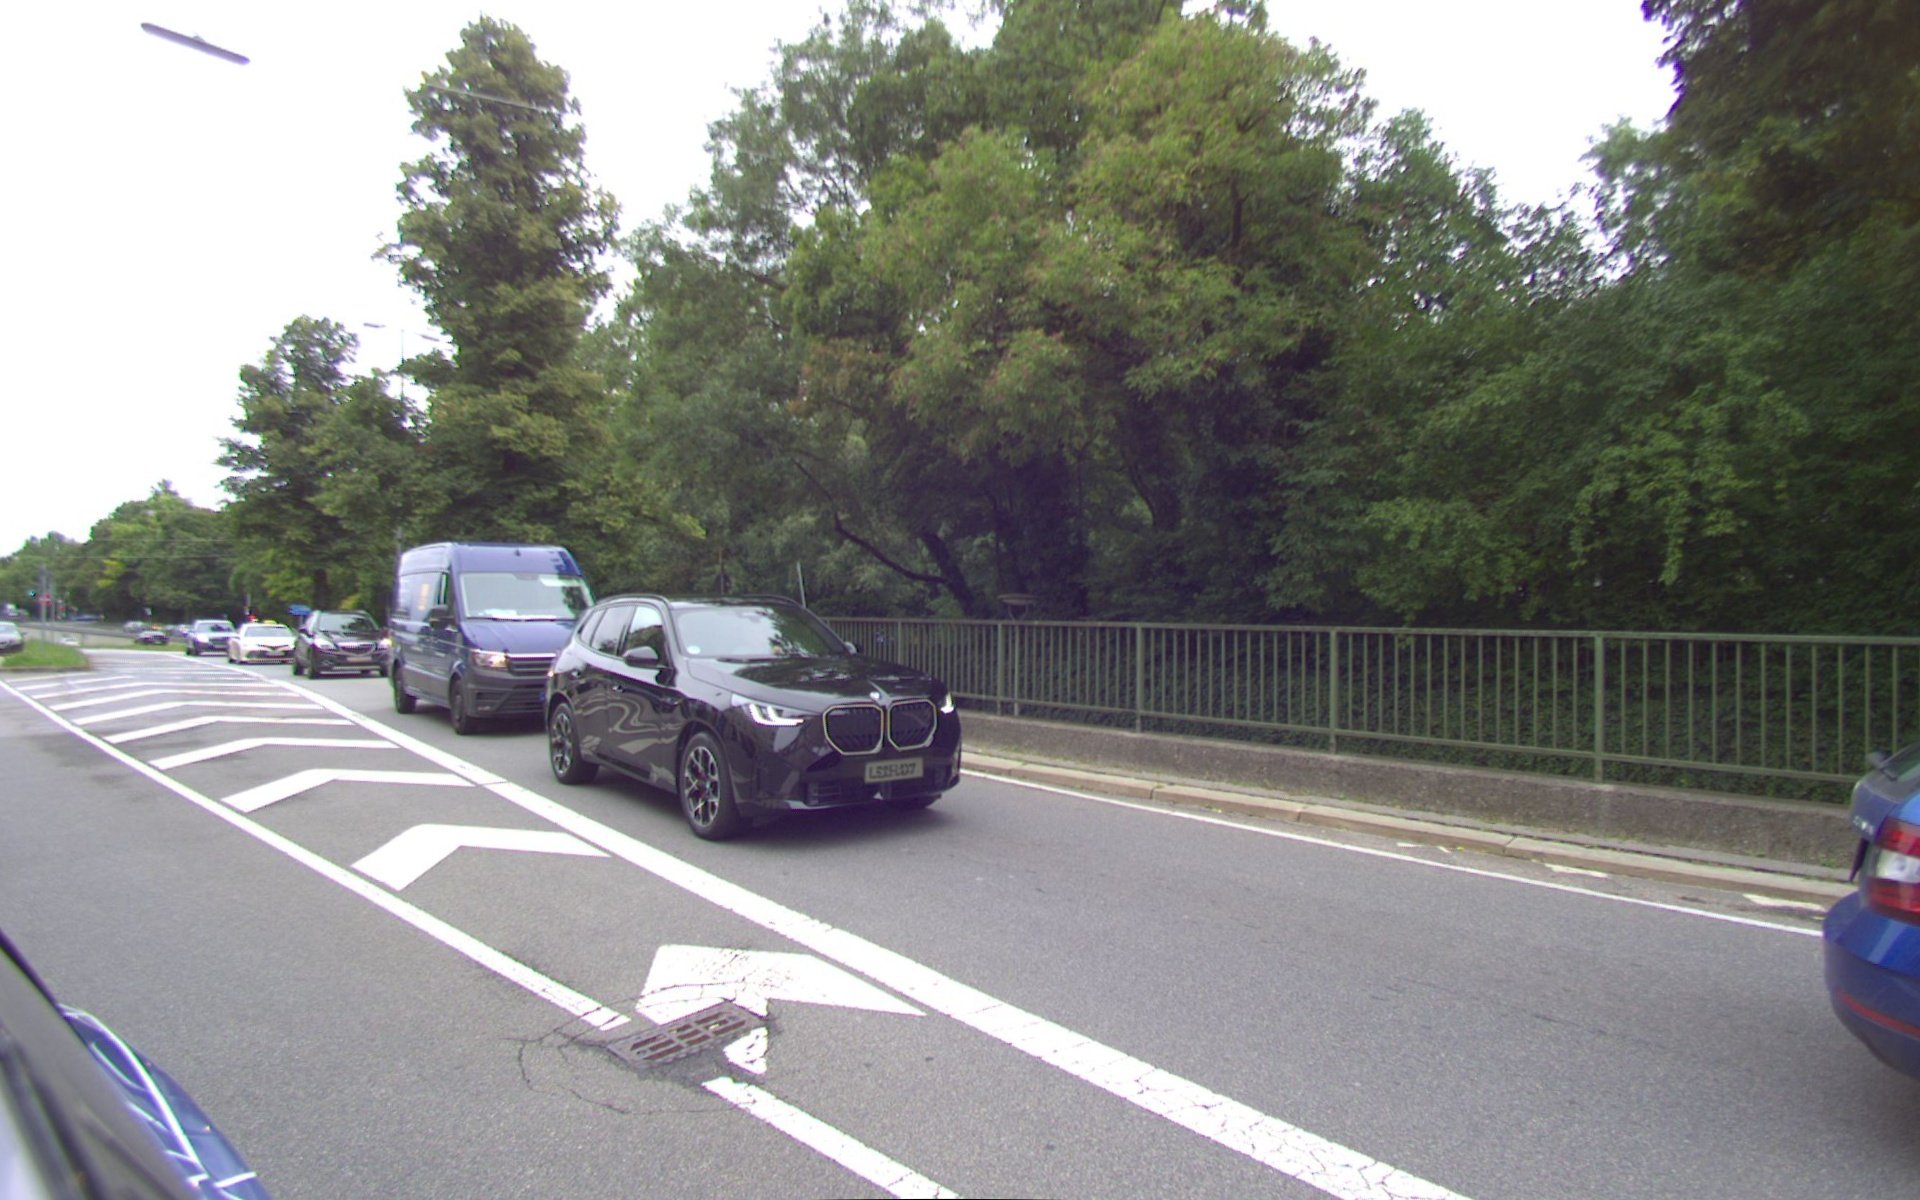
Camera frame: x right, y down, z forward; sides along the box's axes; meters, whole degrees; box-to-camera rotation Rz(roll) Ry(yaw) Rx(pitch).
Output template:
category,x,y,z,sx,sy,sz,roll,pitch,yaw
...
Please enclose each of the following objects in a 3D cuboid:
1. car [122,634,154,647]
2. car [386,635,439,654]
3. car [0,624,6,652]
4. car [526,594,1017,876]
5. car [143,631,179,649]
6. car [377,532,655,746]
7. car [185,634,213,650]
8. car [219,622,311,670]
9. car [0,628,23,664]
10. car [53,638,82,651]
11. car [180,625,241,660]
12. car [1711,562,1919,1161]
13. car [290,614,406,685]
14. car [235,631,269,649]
category,x,y,z,sx,sy,sz,roll,pitch,yaw
car,-96.567,4.764,118.889,4.025,1.457,1.874,-2,-3,36
car,-42.866,3.492,79.153,4.518,1.457,1.975,-1,-3,38
car,-54.869,2.122,56.686,4.285,1.577,1.964,-2,-3,45
car,-1.859,0.819,8.250,1.889,1.598,4.839,0,-1,-39
car,-71.652,3.601,90.750,3.998,1.570,1.841,-2,-2,41
car,-6.675,0.492,14.729,2.156,2.482,5.862,1,-1,-39
car,-87.152,4.838,115.880,3.998,1.759,1.842,-1,-2,41
car,-24.804,1.605,36.043,1.964,1.577,4.658,2,-2,-44
car,-43.466,2.036,45.518,1.876,1.577,4.775,2,-2,-43
car,-103.445,5.159,117.312,4.231,1.457,1.809,-2,-3,39
car,-35.339,1.984,47.676,1.963,1.577,4.279,2,-2,-41
car,4.367,0.614,1.631,1.962,1.465,4.742,2,-2,-40
car,-15.506,1.201,25.526,1.962,1.640,4.281,1,-2,-38
car,-73.322,4.109,104.816,3.998,1.759,1.973,-1,-2,41
